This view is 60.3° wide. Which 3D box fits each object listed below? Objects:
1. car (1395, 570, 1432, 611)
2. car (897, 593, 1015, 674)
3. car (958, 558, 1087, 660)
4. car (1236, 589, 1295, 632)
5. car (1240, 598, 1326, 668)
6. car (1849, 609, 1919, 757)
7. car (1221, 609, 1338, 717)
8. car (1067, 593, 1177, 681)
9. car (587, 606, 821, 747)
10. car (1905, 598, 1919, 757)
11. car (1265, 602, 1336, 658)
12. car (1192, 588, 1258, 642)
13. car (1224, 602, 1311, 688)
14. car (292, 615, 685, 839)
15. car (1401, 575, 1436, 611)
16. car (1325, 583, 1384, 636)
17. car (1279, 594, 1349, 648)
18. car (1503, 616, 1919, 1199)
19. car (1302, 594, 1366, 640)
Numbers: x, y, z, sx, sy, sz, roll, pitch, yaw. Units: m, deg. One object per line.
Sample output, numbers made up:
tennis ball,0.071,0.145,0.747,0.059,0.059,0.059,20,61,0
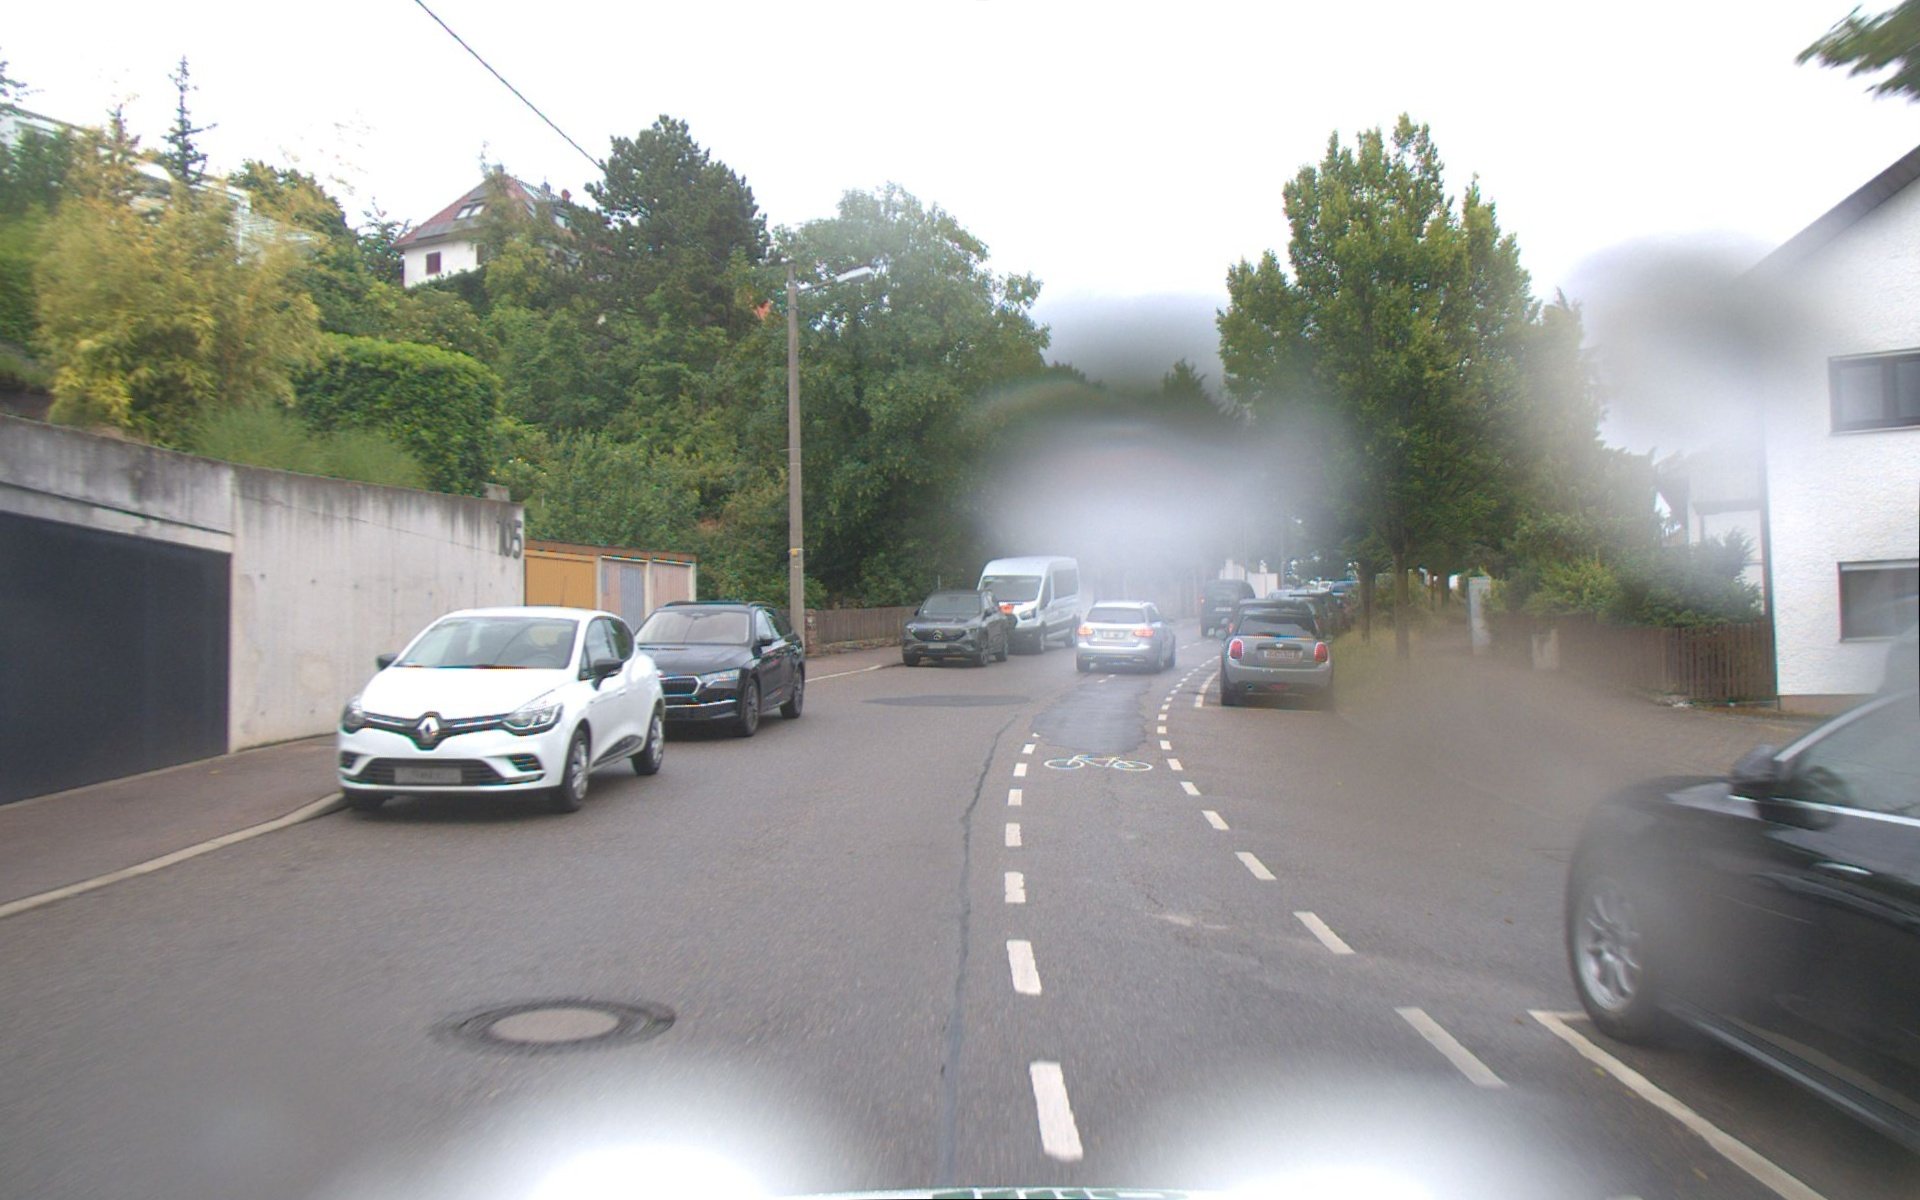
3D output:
car,29.411,-0.659,107.158,2.128,2.536,6.038,1,1,16
car,-0.010,0.726,37.772,1.855,1.721,4.549,-1,0,11
car,1.811,0.214,45.261,2.050,2.594,6.101,-1,0,16
car,12.889,0.440,69.646,1.951,1.738,4.002,0,0,17
car,8.105,0.771,41.287,1.738,1.580,4.731,1,1,15
car,11.606,0.956,17.334,3.602,1.491,1.780,3,-1,11
car,4.963,0.928,26.029,1.633,1.496,3.713,2,0,9
car,3.530,0.754,35.374,1.982,1.738,4.219,1,0,10
car,-2.908,0.822,19.842,1.676,1.485,4.685,0,0,5
car,10.945,0.778,14.477,4.211,1.491,1.936,2,-2,10
car,9.808,0.813,47.425,1.608,1.449,4.290,2,1,16
car,8.840,0.497,55.408,1.951,1.738,4.002,1,0,6
car,6.112,0.854,32.872,1.592,1.590,3.025,1,0,11
car,-3.501,0.874,13.115,1.794,1.465,4.041,-1,0,3
car,27.670,-0.446,99.824,1.951,2.088,5.125,0,0,15
car,14.919,0.321,62.435,1.741,1.884,4.426,1,1,19
car,11.276,0.631,52.524,1.678,1.583,4.165,2,1,19
car,3.274,0.847,4.489,1.824,1.495,5.055,3,0,-1
car,13.062,0.554,57.657,1.615,1.507,4.020,1,1,21
